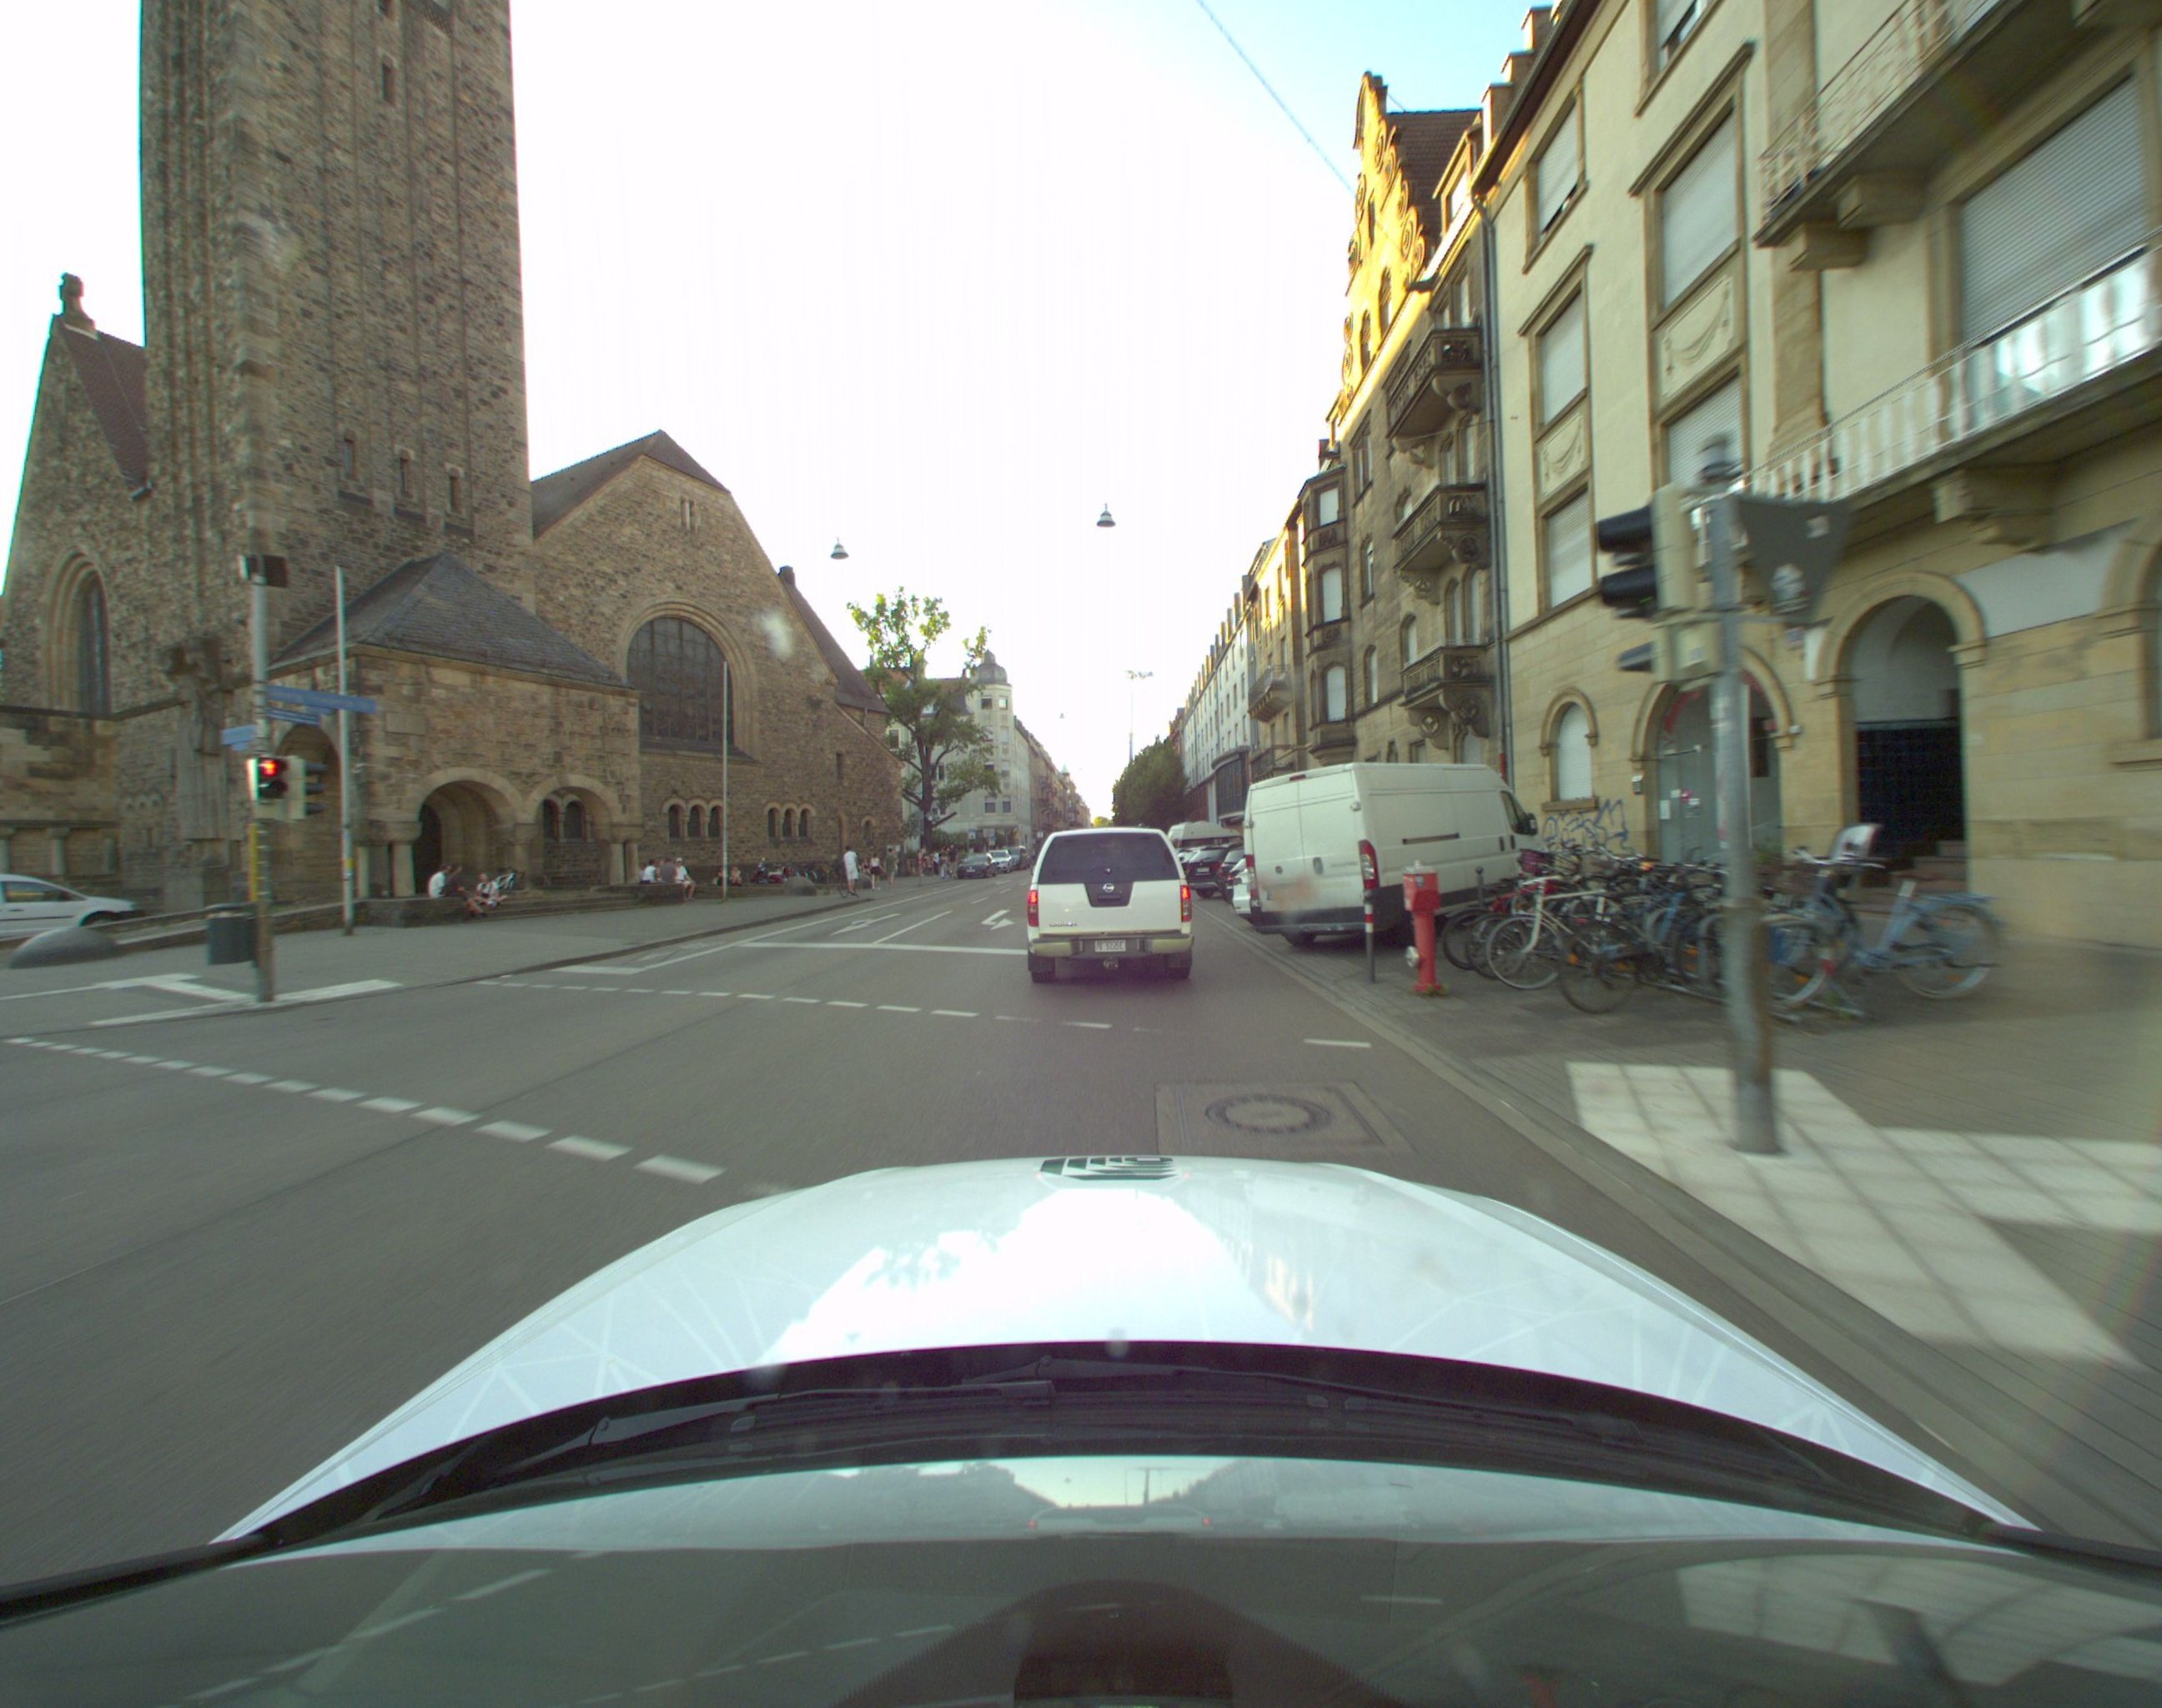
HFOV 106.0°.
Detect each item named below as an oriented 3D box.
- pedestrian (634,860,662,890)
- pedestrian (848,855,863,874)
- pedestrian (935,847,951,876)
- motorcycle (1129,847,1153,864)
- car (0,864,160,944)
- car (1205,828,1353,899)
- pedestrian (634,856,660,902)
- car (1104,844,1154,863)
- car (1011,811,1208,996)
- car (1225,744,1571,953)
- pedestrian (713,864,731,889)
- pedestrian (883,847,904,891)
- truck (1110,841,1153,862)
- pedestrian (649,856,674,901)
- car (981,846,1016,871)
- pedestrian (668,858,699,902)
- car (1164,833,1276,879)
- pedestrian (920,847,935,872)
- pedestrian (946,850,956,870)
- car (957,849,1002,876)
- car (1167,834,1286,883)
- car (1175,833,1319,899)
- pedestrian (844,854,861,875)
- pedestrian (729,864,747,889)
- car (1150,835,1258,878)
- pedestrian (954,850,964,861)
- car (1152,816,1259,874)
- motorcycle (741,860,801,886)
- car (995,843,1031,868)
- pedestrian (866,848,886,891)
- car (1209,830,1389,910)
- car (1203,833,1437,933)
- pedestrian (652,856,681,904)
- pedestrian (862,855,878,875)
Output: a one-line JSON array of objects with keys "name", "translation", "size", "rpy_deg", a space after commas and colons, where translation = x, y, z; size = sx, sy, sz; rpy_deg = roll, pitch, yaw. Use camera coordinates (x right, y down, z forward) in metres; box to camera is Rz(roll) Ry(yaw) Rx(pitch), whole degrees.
[{"name": "pedestrian", "translation": [-16.381, 0.802, 30.820], "size": [0.688, 1.094, 1.318], "rpy_deg": [-2, 0, -37]}, {"name": "pedestrian", "translation": [-12.184, 0.566, 44.054], "size": [0.493, 1.048, 0.611], "rpy_deg": [-2, 0, 22]}, {"name": "pedestrian", "translation": [-8.445, 0.469, 49.887], "size": [0.711, 1.725, 0.692], "rpy_deg": [-2, 0, 3]}, {"name": "motorcycle", "translation": [4.603, 0.114, 62.443], "size": [1.643, 1.101, 0.646], "rpy_deg": [-5, 0, -7]}, {"name": "car", "translation": [-26.310, 1.251, 20.103], "size": [1.564, 1.808, 4.433], "rpy_deg": [-2, 0, 28]}, {"name": "car", "translation": [5.344, 0.219, 21.728], "size": [3.937, 1.544, 1.697], "rpy_deg": [-5, -1, -39]}, {"name": "pedestrian", "translation": [-13.419, 0.769, 25.188], "size": [0.397, 1.406, 0.551], "rpy_deg": [-2, 0, 37]}, {"name": "car", "translation": [4.246, -0.084, 72.256], "size": [4.009, 1.506, 1.755], "rpy_deg": [-3, 0, -27]}, {"name": "car", "translation": [0.368, 0.477, 10.570], "size": [1.926, 1.794, 4.624], "rpy_deg": [-2, 1, 2]}, {"name": "car", "translation": [5.125, -0.164, 12.622], "size": [5.915, 2.551, 2.170], "rpy_deg": [-4, -1, -39]}, {"name": "pedestrian", "translation": [-14.668, 0.906, 33.261], "size": [0.563, 0.967, 0.643], "rpy_deg": [-2, 0, -31]}, {"name": "pedestrian", "translation": [-8.318, 0.657, 36.130], "size": [0.645, 1.879, 0.891], "rpy_deg": [-2, 0, -1]}, {"name": "truck", "translation": [7.605, -0.354, 121.780], "size": [6.293, 2.977, 2.266], "rpy_deg": [-1, -3, 3]}, {"name": "pedestrian", "translation": [-13.491, 0.786, 26.185], "size": [0.541, 1.406, 0.461], "rpy_deg": [-2, 0, 37]}, {"name": "car", "translation": [-5.693, 0.309, 56.478], "size": [1.865, 1.591, 4.469], "rpy_deg": [-2, 0, 1]}, {"name": "pedestrian", "translation": [-13.058, 0.862, 26.749], "size": [0.695, 1.406, 0.636], "rpy_deg": [-2, 0, 37]}, {"name": "car", "translation": [5.621, 0.090, 32.903], "size": [4.130, 1.546, 1.780], "rpy_deg": [-4, -2, -26]}, {"name": "pedestrian", "translation": [-9.697, 0.341, 51.496], "size": [0.644, 1.545, 0.589], "rpy_deg": [-2, 0, 26]}, {"name": "pedestrian", "translation": [-11.528, 0.546, 72.302], "size": [0.704, 1.721, 0.837], "rpy_deg": [-2, 0, 0]}, {"name": "car", "translation": [-5.982, 0.457, 48.469], "size": [1.775, 1.435, 4.320], "rpy_deg": [-2, 0, 4]}, {"name": "car", "translation": [5.378, 0.170, 29.971], "size": [4.050, 1.431, 1.849], "rpy_deg": [-5, 0, -32]}, {"name": "car", "translation": [4.996, 0.334, 24.265], "size": [4.117, 1.607, 1.796], "rpy_deg": [-5, 0, -36]}, {"name": "pedestrian", "translation": [-12.152, 0.556, 43.326], "size": [0.741, 1.048, 0.515], "rpy_deg": [-2, 0, -28]}, {"name": "pedestrian", "translation": [-14.179, 0.924, 33.628], "size": [0.563, 0.991, 0.689], "rpy_deg": [-2, 0, -31]}, {"name": "car", "translation": [5.396, 0.086, 35.640], "size": [4.411, 1.486, 1.827], "rpy_deg": [-5, 1, -28]}, {"name": "pedestrian", "translation": [-10.814, 0.149, 72.284], "size": [0.704, 0.980, 0.837], "rpy_deg": [-2, 0, 0]}, {"name": "car", "translation": [5.907, -0.453, 38.553], "size": [4.736, 2.546, 1.901], "rpy_deg": [-2, 0, -27]}, {"name": "motorcycle", "translation": [-13.976, 0.848, 36.769], "size": [2.402, 1.125, 0.823], "rpy_deg": [0, 1, 6]}, {"name": "car", "translation": [-5.254, 0.085, 63.593], "size": [1.985, 1.866, 5.295], "rpy_deg": [-2, 0, 4]}, {"name": "pedestrian", "translation": [-9.018, 0.662, 35.859], "size": [0.571, 1.856, 0.988], "rpy_deg": [-2, 0, -1]}, {"name": "car", "translation": [5.002, 0.336, 18.509], "size": [3.936, 1.446, 1.853], "rpy_deg": [-5, -1, -38]}, {"name": "car", "translation": [4.554, 0.476, 15.301], "size": [4.274, 1.453, 1.978], "rpy_deg": [-4, 0, -36]}, {"name": "pedestrian", "translation": [-12.758, 0.804, 25.090], "size": [0.543, 1.453, 0.561], "rpy_deg": [-2, 0, 37]}, {"name": "pedestrian", "translation": [-11.431, 0.588, 44.177], "size": [0.512, 1.056, 0.703], "rpy_deg": [-2, 0, 19]}]
